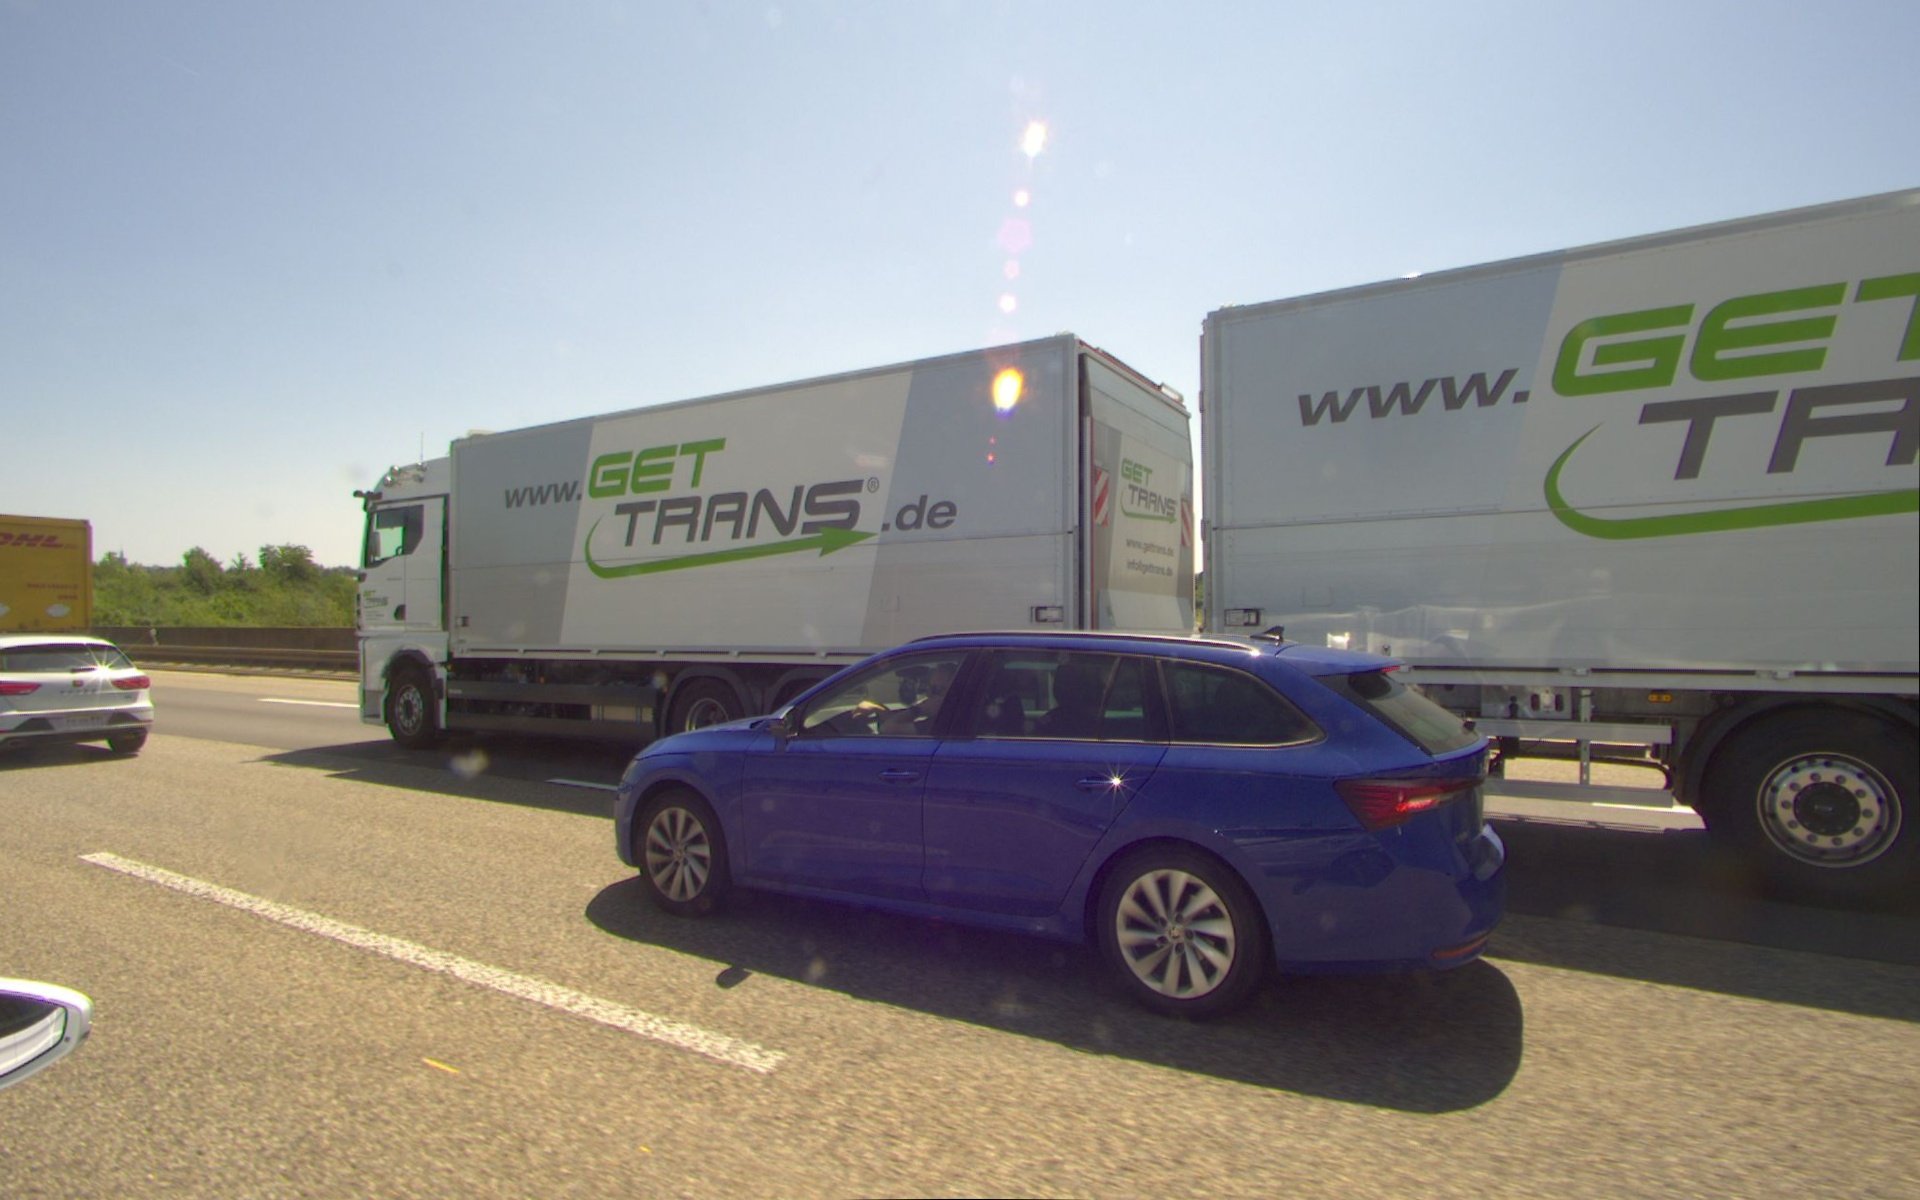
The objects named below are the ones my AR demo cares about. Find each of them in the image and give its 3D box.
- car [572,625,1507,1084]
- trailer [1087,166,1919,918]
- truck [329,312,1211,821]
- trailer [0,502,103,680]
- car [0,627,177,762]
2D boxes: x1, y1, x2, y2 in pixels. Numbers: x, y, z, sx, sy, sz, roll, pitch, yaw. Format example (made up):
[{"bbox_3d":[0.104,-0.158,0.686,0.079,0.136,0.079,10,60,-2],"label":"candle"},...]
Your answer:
[{"bbox_3d":[0.225,0.860,5.061,4.433,1.459,1.708,-1,-1,30],"label":"car"},{"bbox_3d":[5.116,-0.240,6.215,8.172,3.640,2.840,-1,-2,32],"label":"trailer"},{"bbox_3d":[-2.831,-0.086,11.214,10.615,3.648,2.846,-1,-2,32],"label":"truck"},{"bbox_3d":[-25.437,-0.076,25.708,8.803,4.074,2.697,-1,-2,32],"label":"trailer"},{"bbox_3d":[-11.386,1.031,12.083,4.128,1.405,1.778,-1,-1,32],"label":"car"}]
